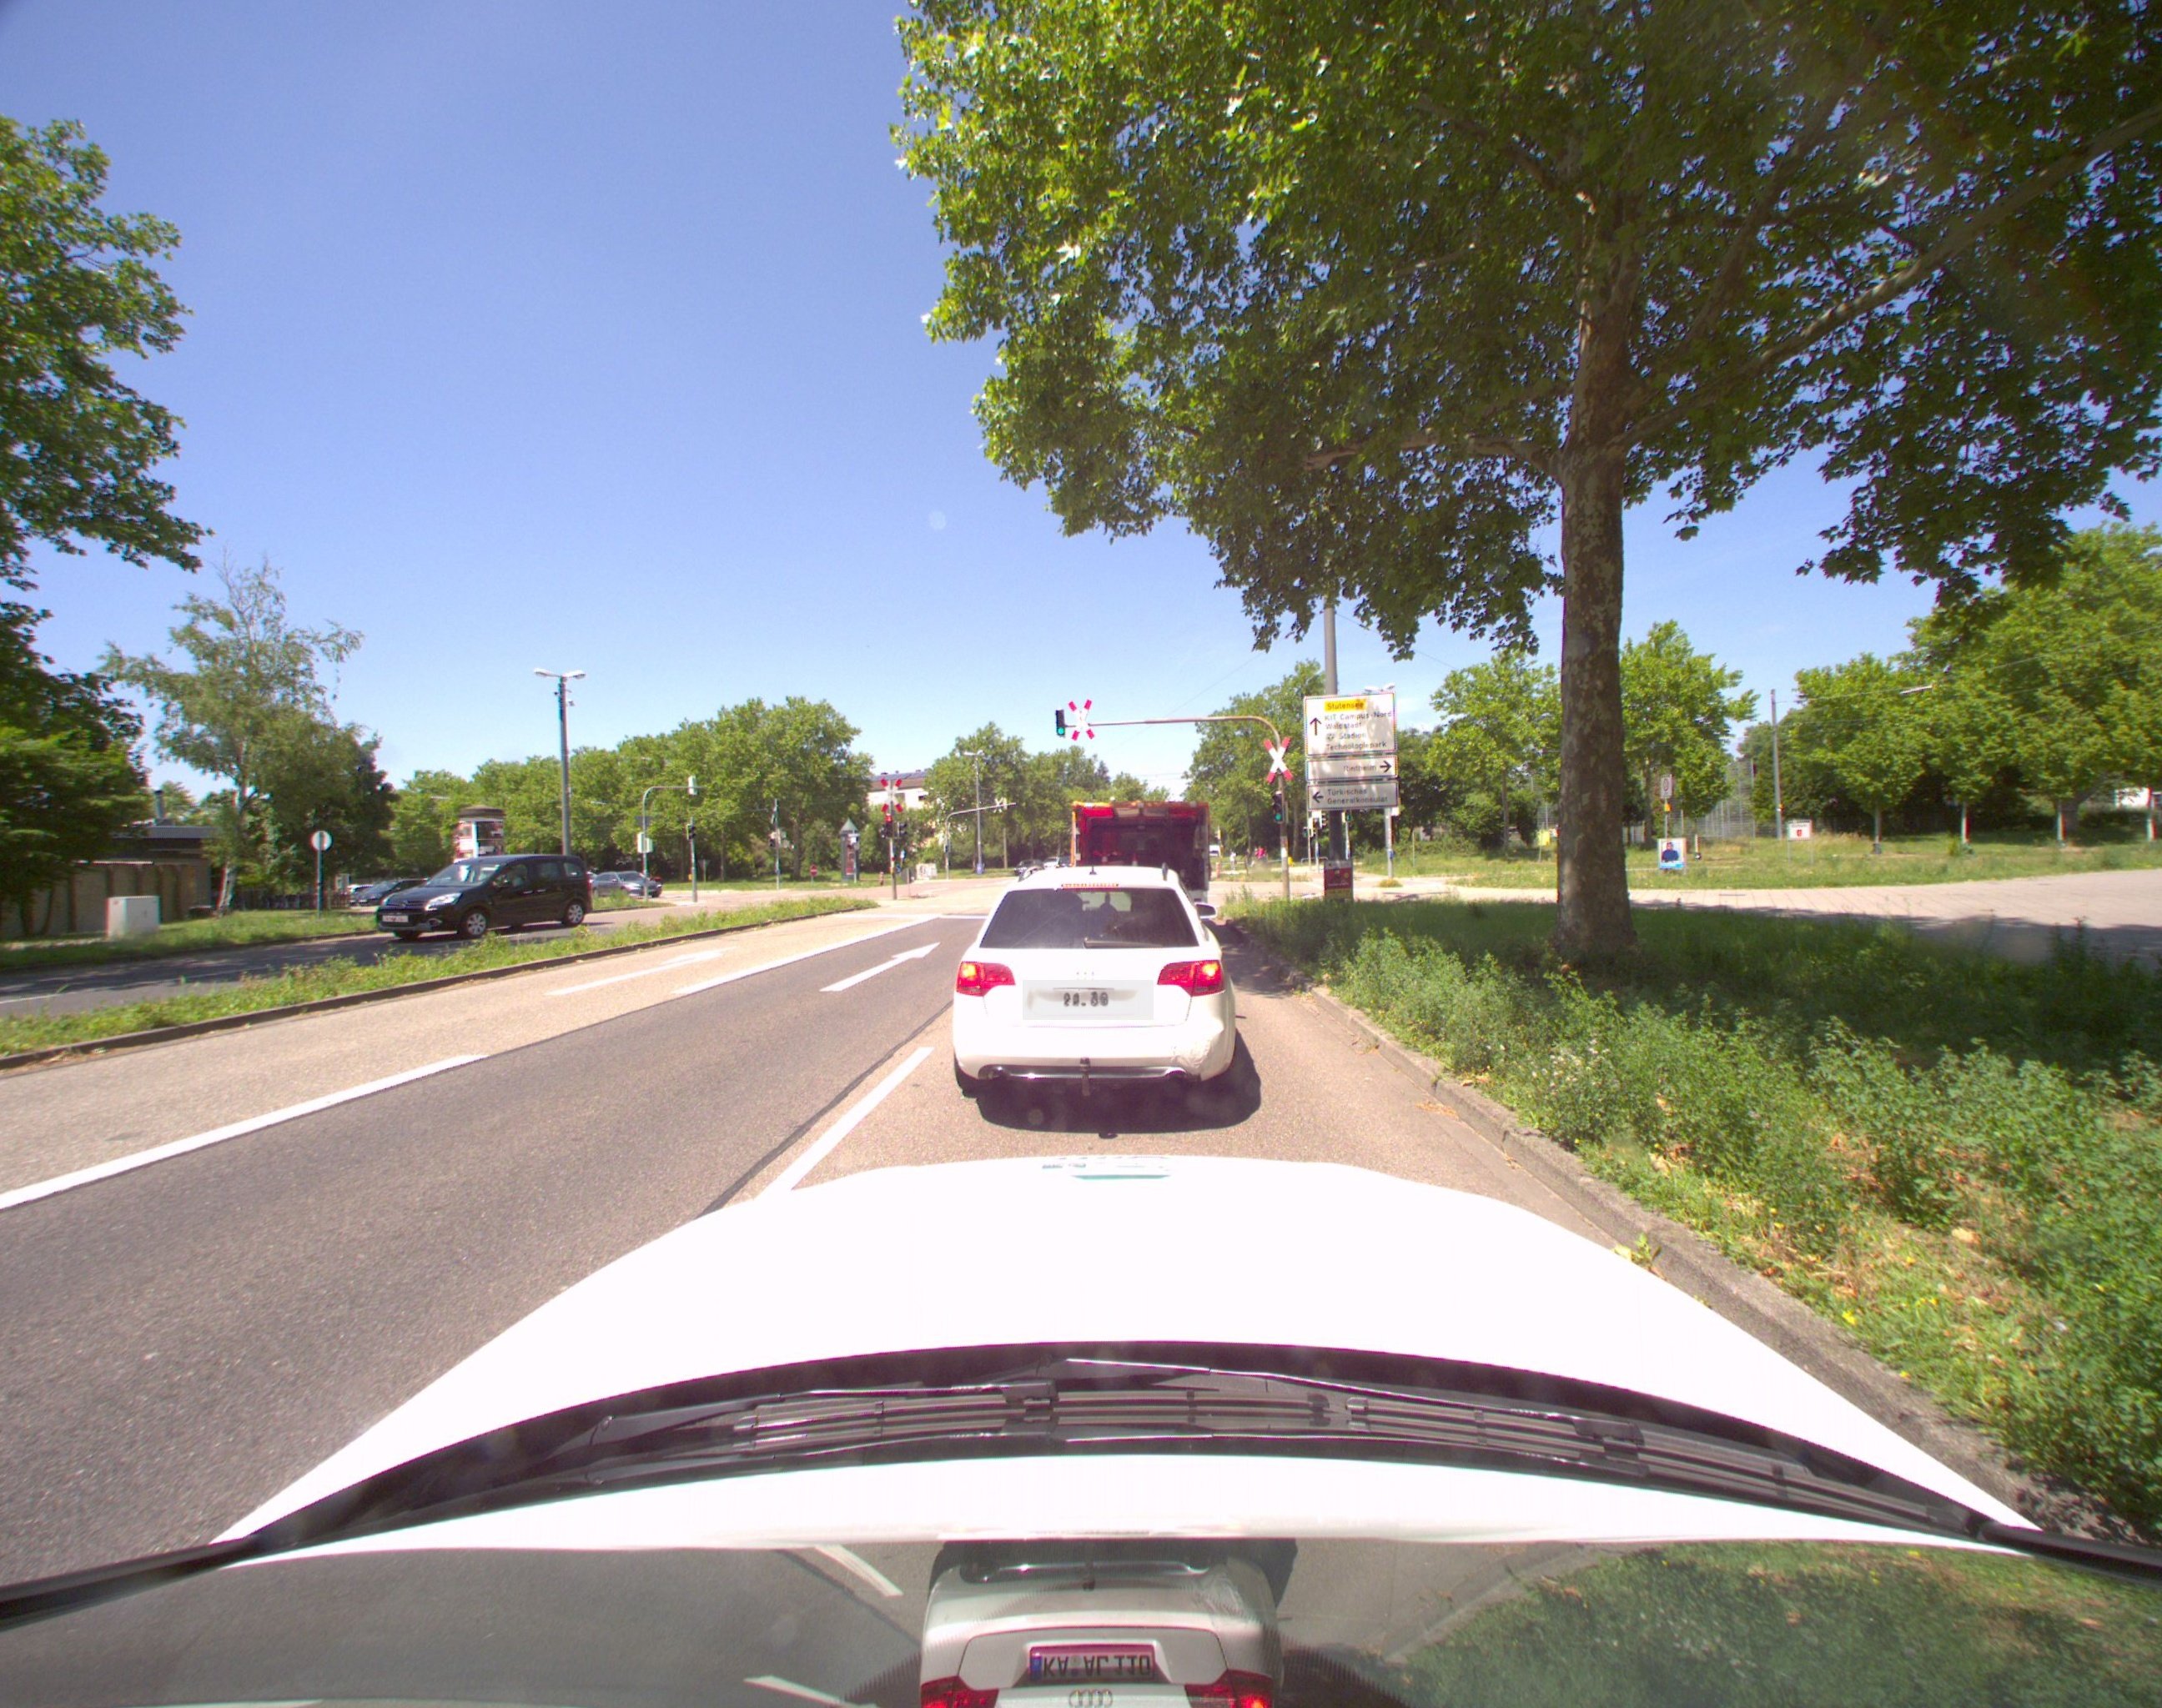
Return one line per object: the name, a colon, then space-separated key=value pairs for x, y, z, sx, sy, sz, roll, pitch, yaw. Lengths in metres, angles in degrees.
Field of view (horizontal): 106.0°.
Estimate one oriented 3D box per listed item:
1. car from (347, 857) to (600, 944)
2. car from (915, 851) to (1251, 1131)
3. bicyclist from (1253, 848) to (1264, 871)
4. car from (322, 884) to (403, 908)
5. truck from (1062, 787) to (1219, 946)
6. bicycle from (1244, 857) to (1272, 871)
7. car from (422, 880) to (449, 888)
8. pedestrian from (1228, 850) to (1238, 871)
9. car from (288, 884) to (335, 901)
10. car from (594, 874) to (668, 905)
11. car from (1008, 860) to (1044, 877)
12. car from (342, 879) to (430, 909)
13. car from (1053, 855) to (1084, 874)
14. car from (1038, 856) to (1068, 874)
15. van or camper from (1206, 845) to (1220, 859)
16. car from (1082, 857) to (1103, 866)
car: x=-13.410 y=0.941 z=18.405 sx=1.900 sy=1.679 sz=4.455 roll=-2 pitch=0 yaw=9
car: x=0.187 y=0.719 z=6.086 sx=1.754 sy=1.445 sz=3.622 roll=-1 pitch=0 yaw=6
bicyclist: x=12.121 y=0.396 z=55.697 sx=0.668 sy=1.556 sz=0.580 roll=-2 pitch=-1 yaw=7
car: x=-51.825 y=3.022 z=58.856 sx=1.930 sy=1.423 sz=4.070 roll=-2 pitch=0 yaw=8
truck: x=1.287 y=0.230 z=16.947 sx=2.499 sy=2.559 sz=7.613 roll=0 pitch=0 yaw=5
bicycle: x=12.095 y=0.705 z=55.697 sx=1.796 sy=0.896 sz=0.590 roll=-2 pitch=-1 yaw=6
car: x=-88.133 y=4.101 z=111.244 sx=0.996 sy=0.994 sz=2.738 roll=-2 pitch=0 yaw=31
pedestrian: x=10.872 y=0.449 z=58.163 sx=0.548 sy=1.484 sz=0.632 roll=-2 pitch=0 yaw=18
car: x=-63.608 y=3.194 z=67.328 sx=1.181 sy=1.205 sz=2.874 roll=-2 pitch=1 yaw=-3
car: x=-23.798 y=1.875 z=43.017 sx=3.941 sy=1.457 sz=1.776 roll=-2 pitch=0 yaw=34
car: x=-4.936 y=1.297 z=73.940 sx=1.936 sy=1.440 sz=4.763 roll=-1 pitch=0 yaw=12
car: x=-44.806 y=2.553 z=52.626 sx=1.769 sy=1.651 sz=4.201 roll=-2 pitch=0 yaw=6
car: x=-1.123 y=0.918 z=74.328 sx=1.897 sy=1.539 sz=4.312 roll=-2 pitch=0 yaw=11
car: x=-2.788 y=1.078 z=80.994 sx=1.774 sy=1.615 sz=4.421 roll=-2 pitch=0 yaw=14
van or camper: x=32.414 y=-0.440 z=199.731 sx=2.640 sy=3.331 sz=5.524 roll=-2 pitch=0 yaw=16
car: x=2.001 y=1.292 z=139.356 sx=1.864 sy=1.393 sz=4.025 roll=-2 pitch=0 yaw=28
